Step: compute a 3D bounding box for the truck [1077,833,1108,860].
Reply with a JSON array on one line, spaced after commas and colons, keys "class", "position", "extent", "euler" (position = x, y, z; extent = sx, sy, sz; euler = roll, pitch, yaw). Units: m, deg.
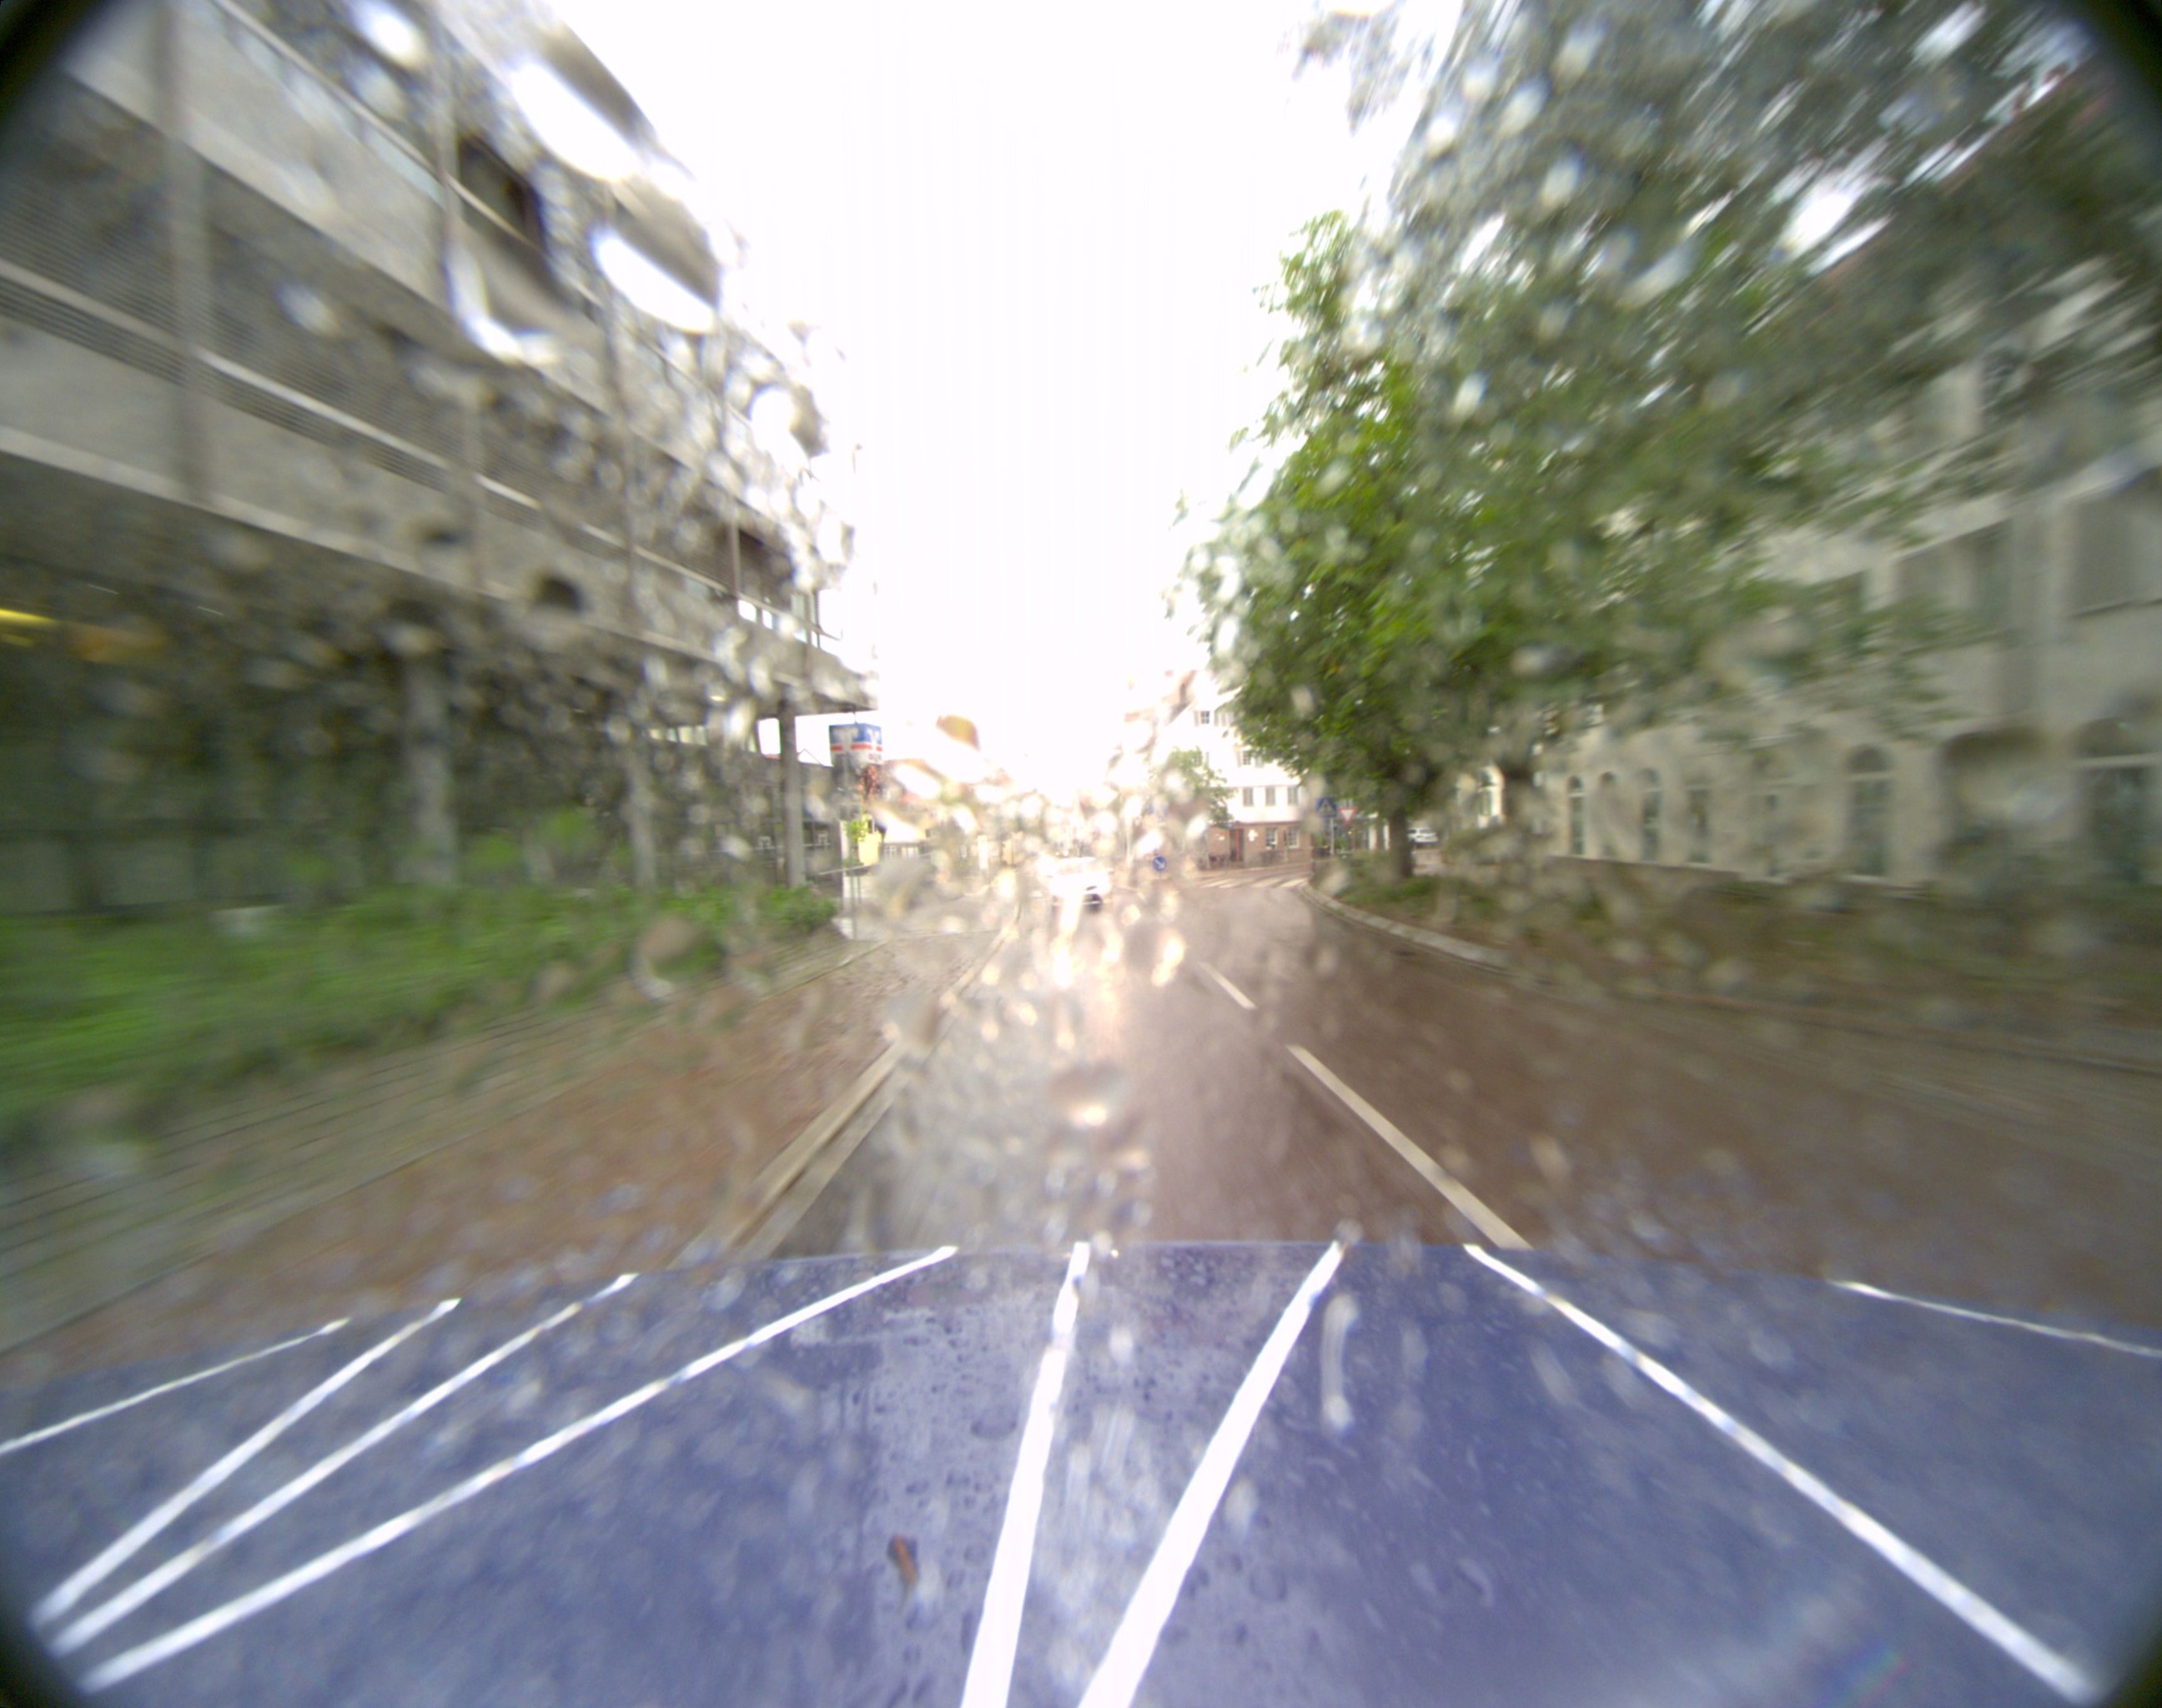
[{"class": "truck", "position": [1.174, -0.761, 81.326], "extent": [2.407, 2.579, 6.480], "euler": [-3, -1, -6]}]

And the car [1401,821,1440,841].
[{"class": "car", "position": [28.983, -1.949, 65.027], "extent": [1.829, 1.612, 3.889], "euler": [-1, 2, 5]}]

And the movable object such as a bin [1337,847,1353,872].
[{"class": "movable object such as a bin", "position": [11.198, 0.233, 32.207], "extent": [0.634, 1.053, 0.699], "euler": [0, 2, 21]}]

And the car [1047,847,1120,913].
[{"class": "car", "position": [0.027, 0.673, 22.545], "extent": [1.868, 1.578, 4.612], "euler": [-3, 2, -1]}]
